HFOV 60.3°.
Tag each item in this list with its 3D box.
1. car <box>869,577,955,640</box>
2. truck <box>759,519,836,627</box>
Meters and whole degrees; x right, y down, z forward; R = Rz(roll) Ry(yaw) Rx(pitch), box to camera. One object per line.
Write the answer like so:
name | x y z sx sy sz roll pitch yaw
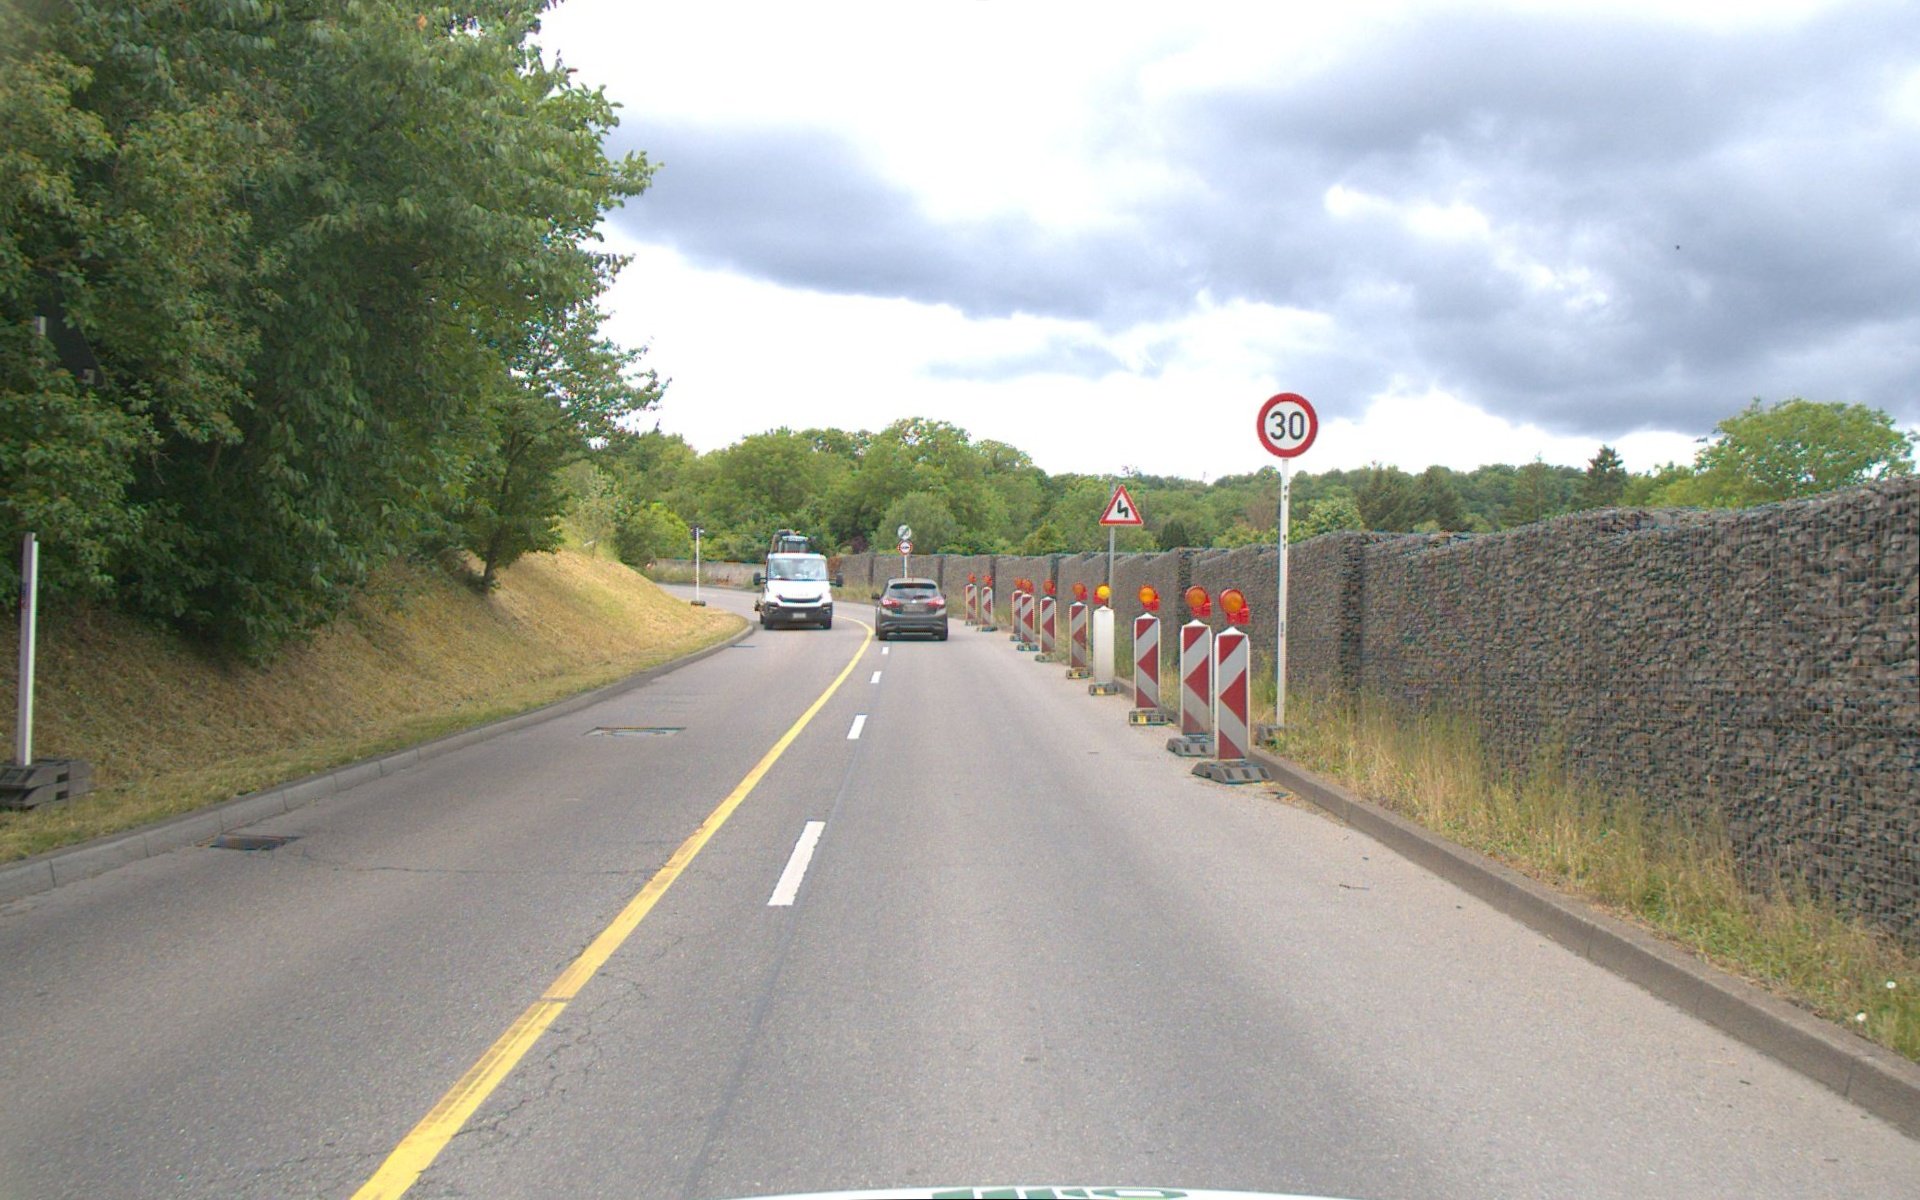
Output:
car | -1.286 0.199 42.458 1.805 1.509 3.994 -1 0 -7
truck | -5.018 -0.835 51.106 2.172 3.067 7.731 0 1 -6
